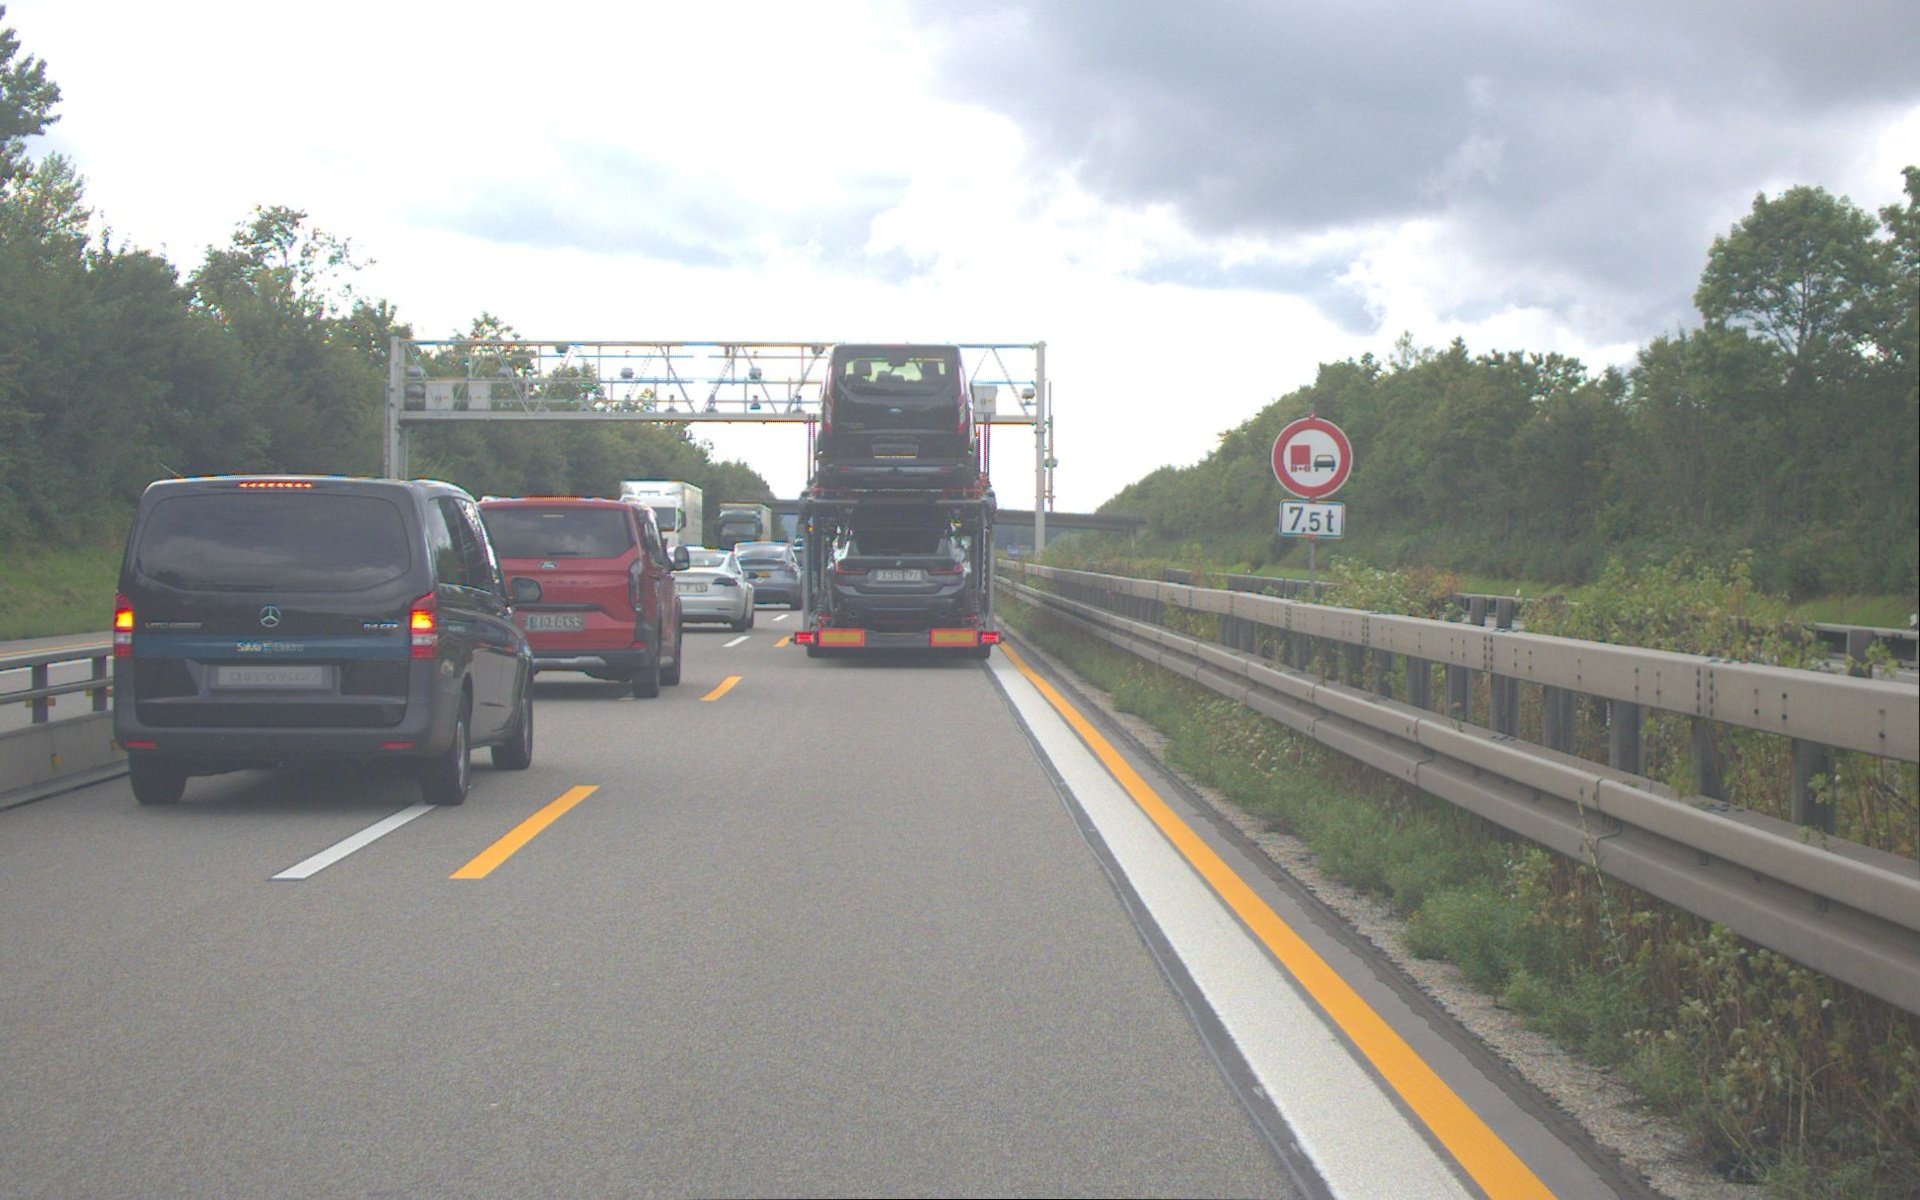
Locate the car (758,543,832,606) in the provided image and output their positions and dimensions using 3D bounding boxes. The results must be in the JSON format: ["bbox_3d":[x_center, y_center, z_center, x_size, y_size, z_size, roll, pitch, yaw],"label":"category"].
[{"bbox_3d":[-4.690,-0.753,98.052,2.031,1.751,4.578,0,1,-2],"label":"car"}]

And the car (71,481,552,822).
[{"bbox_3d":[-3.829,0.236,21.352,1.993,1.837,5.610,0,1,-1],"label":"car"}]

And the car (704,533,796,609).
[{"bbox_3d":[-4.962,-0.704,81.818,2.031,1.751,4.578,0,1,-1],"label":"car"}]

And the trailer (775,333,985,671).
[{"bbox_3d":[-0.996,-1.263,47.326,2.515,4.091,11.114,1,1,0],"label":"trailer"}]

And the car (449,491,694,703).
[{"bbox_3d":[-3.866,-0.057,34.954,2.031,2.007,4.578,0,1,-1],"label":"car"}]

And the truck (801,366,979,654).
[{"bbox_3d":[-1.010,-1.326,52.057,2.515,4.091,5.685,1,1,0],"label":"truck"}]

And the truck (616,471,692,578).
[{"bbox_3d":[-12.256,-3.027,137.899,2.598,4.140,5.621,1,1,-1],"label":"truck"}]

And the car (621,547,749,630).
[{"bbox_3d":[-4.844,-0.228,61.107,2.031,1.426,4.578,0,1,-1],"label":"car"}]
